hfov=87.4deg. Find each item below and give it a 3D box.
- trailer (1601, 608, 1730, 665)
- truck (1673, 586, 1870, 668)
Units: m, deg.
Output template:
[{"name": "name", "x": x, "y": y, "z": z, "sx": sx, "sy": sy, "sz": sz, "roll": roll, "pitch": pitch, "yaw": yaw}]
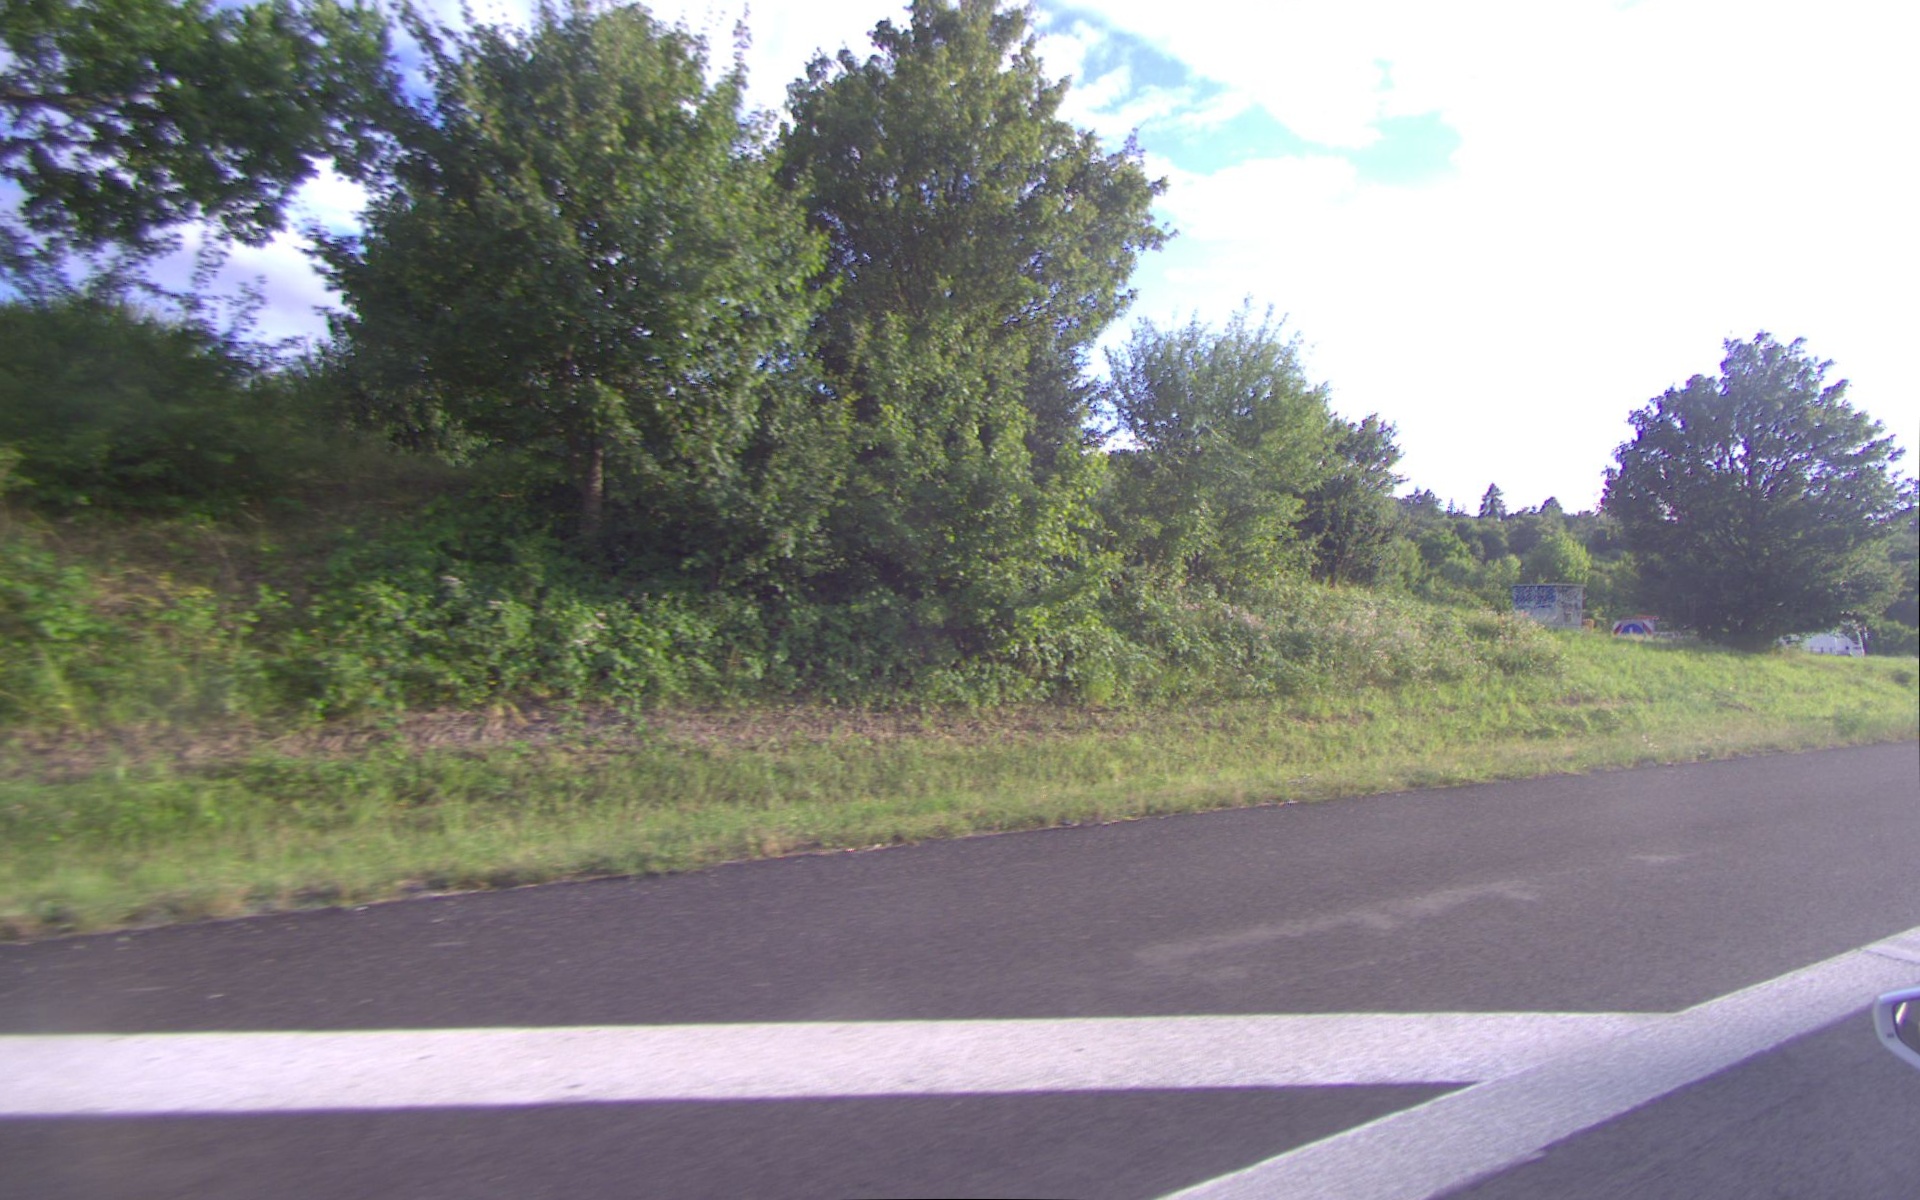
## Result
[{"name": "trailer", "x": 34.906, "y": 1.795, "z": 49.784, "sx": 4.736, "sy": 2.612, "sz": 2.921, "roll": 2, "pitch": -2, "yaw": -15}, {"name": "truck", "x": 41.785, "y": 1.436, "z": 51.703, "sx": 9.505, "sy": 3.839, "sz": 2.921, "roll": 2, "pitch": -1, "yaw": -15}]
